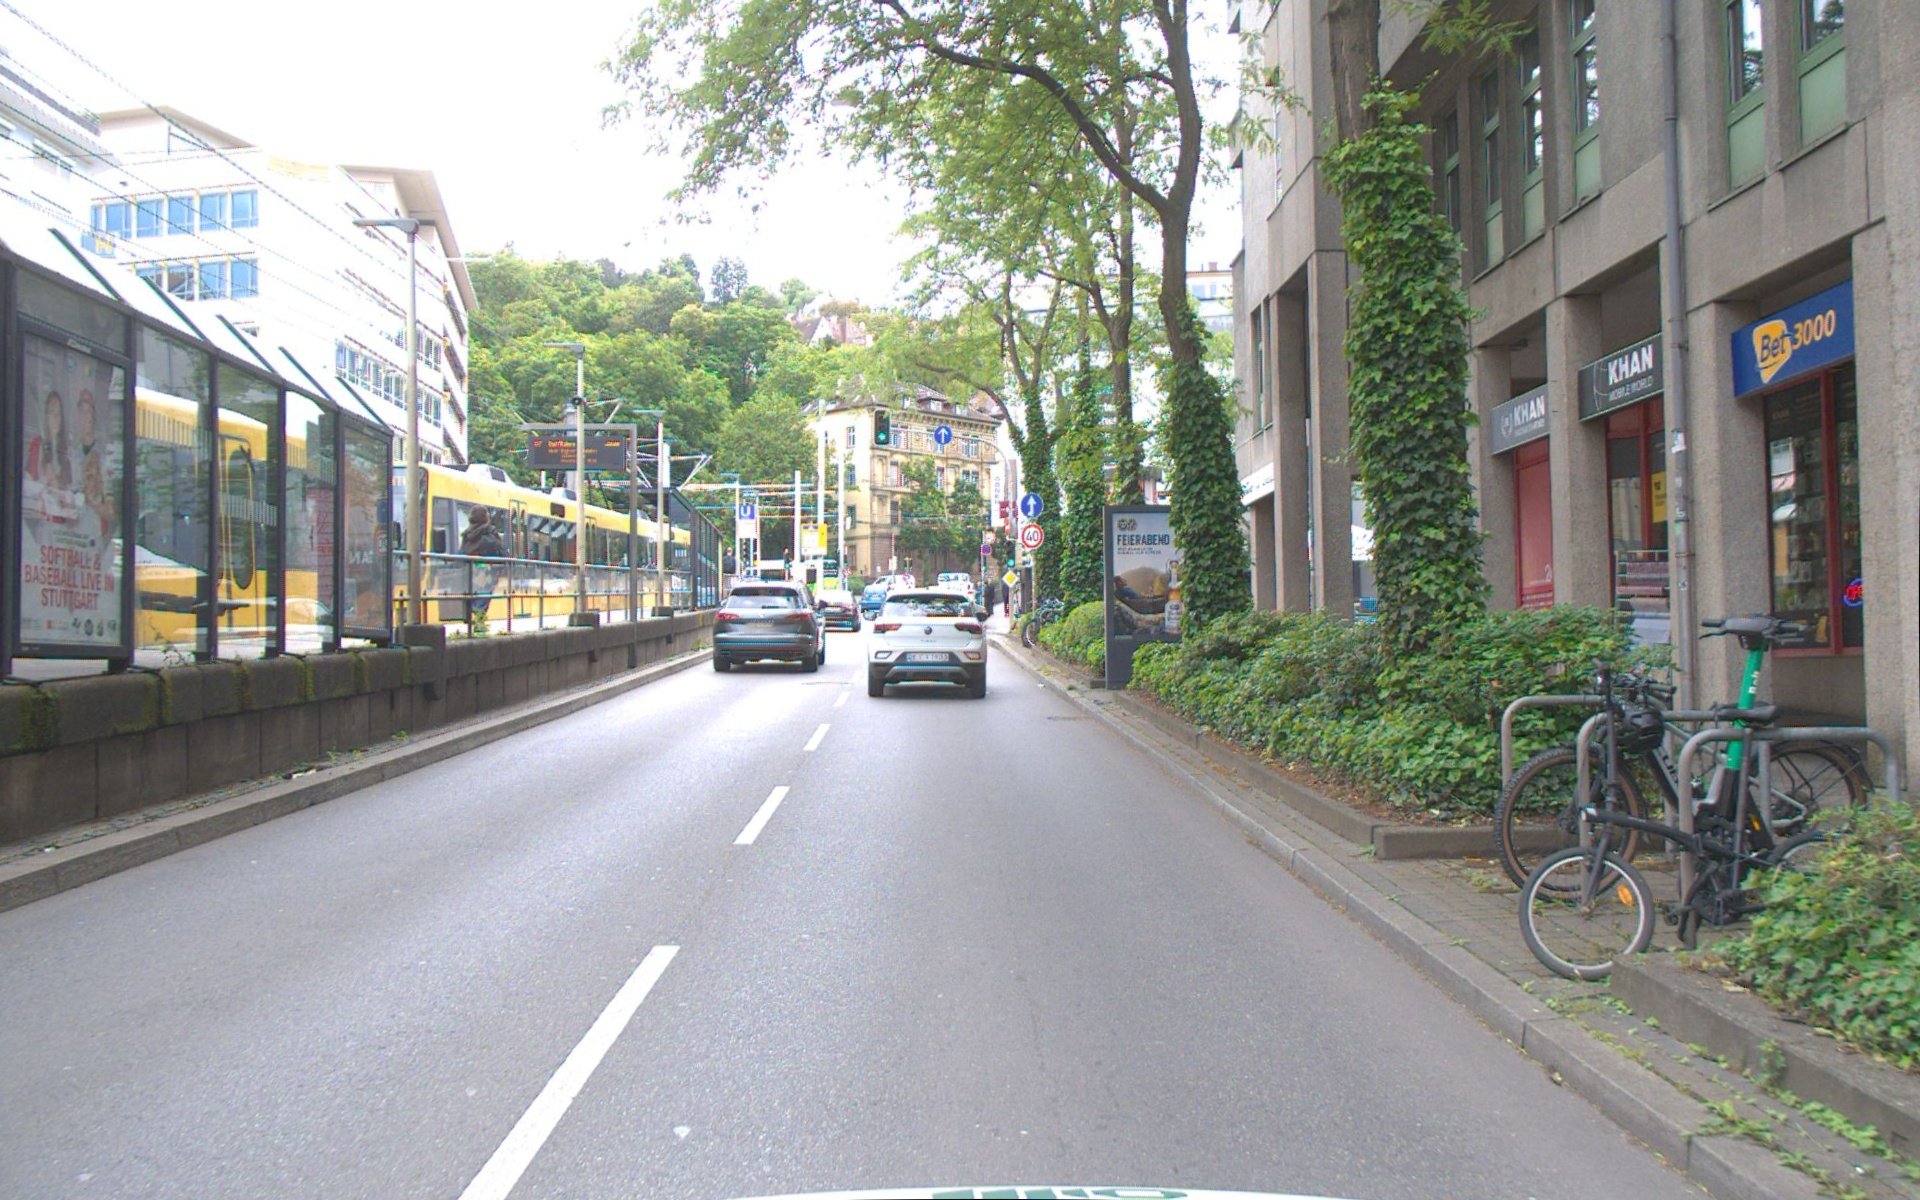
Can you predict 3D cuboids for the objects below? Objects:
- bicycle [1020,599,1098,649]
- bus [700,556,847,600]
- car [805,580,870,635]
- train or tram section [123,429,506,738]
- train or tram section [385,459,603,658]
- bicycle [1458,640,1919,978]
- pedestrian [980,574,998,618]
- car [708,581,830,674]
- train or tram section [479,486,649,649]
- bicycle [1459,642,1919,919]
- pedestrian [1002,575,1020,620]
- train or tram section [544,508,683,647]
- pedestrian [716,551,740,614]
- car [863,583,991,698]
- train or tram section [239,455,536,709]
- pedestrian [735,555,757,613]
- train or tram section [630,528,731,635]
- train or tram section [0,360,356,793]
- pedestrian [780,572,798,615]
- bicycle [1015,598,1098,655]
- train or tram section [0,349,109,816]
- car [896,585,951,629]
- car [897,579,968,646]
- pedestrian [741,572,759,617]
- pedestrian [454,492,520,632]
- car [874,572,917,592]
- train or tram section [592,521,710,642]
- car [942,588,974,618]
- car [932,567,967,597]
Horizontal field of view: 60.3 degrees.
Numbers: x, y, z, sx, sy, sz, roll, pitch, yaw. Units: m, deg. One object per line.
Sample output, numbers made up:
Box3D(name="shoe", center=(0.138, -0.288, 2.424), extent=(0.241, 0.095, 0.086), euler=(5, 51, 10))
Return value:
Box3D(name="bicycle", center=(2.391, 0.585, 39.743), extent=(1.841, 1.157, 0.808), euler=(1, -2, 5))
Box3D(name="bus", center=(-14.836, -1.675, 130.607), extent=(13.073, 3.118, 3.366), euler=(0, -2, 39))
Box3D(name="car", center=(-4.279, 0.297, 58.172), extent=(1.872, 1.719, 4.000), euler=(1, -3, 1))
Box3D(name="train or tram section", center=(-8.795, -0.174, 23.542), extent=(2.755, 3.731, 6.750), euler=(1, 0, 0))
Box3D(name="train or tram section", center=(-9.547, -0.754, 34.680), extent=(2.756, 3.731, 6.748), euler=(1, 0, -2))
Box3D(name="bicycle", center=(2.793, 0.764, 6.280), extent=(1.586, 1.147, 0.613), euler=(-3, -1, 3))
Box3D(name="pedestrian", center=(1.382, -0.191, 78.679), extent=(0.746, 2.049, 0.839), euler=(1, -2, 4))
Box3D(name="car", center=(-3.594, 0.484, 31.790), extent=(1.953, 1.664, 3.999), euler=(0, 0, -1))
Box3D(name="train or tram section", center=(-9.736, -0.722, 41.432), extent=(2.756, 3.731, 6.748), euler=(1, 0, -2))
Box3D(name="bicycle", center=(3.313, 0.788, 7.507), extent=(1.878, 1.095, 0.613), euler=(-2, -1, -4))
Box3D(name="pedestrian", center=(2.356, -0.110, 76.394), extent=(0.746, 2.049, 0.839), euler=(1, -2, 4))
Box3D(name="train or tram section", center=(-9.945, -0.592, 48.161), extent=(2.756, 3.731, 6.748), euler=(1, 0, -2))
Box3D(name="pedestrian", center=(-7.705, -0.576, 54.844), extent=(0.747, 2.049, 0.837), euler=(1, -2, -8))
Box3D(name="car", center=(-0.429, 0.579, 25.513), extent=(1.799, 1.611, 4.157), euler=(0, 0, 1))
Box3D(name="train or tram section", center=(-9.345, -0.242, 27.896), extent=(2.756, 3.731, 6.748), euler=(1, 0, -2))
Box3D(name="pedestrian", center=(-7.638, -0.559, 58.942), extent=(0.747, 2.049, 0.837), euler=(1, -2, -8))
Box3D(name="train or tram section", center=(-10.342, -0.631, 61.818), extent=(2.756, 3.731, 6.748), euler=(1, 0, -2))
Box3D(name="train or tram section", center=(-8.766, -0.198, 17.211), extent=(2.755, 3.731, 5.902), euler=(1, -1, 0))
Box3D(name="pedestrian", center=(-8.213, -0.299, 79.331), extent=(0.746, 2.049, 0.838), euler=(1, -2, 0))
Box3D(name="bicycle", center=(2.240, 0.605, 38.248), extent=(1.840, 1.288, 0.765), euler=(0, -2, 10))
Box3D(name="train or tram section", center=(-8.752, -0.159, 11.371), extent=(2.777, 3.583, 5.751), euler=(1, 0, 0))
Box3D(name="car", center=(-1.529, 0.310, 68.040), extent=(1.849, 1.713, 4.154), euler=(1, -1, -7))
Box3D(name="car", center=(-0.767, 0.379, 45.506), extent=(1.846, 1.713, 4.160), euler=(1, -1, -1))
Box3D(name="pedestrian", center=(-9.813, -0.246, 77.301), extent=(0.746, 2.049, 0.838), euler=(1, -2, -1))
Box3D(name="pedestrian", center=(-6.192, -0.495, 21.686), extent=(0.614, 1.793, 0.846), euler=(-1, 0, -1))
Box3D(name="car", center=(-5.787, -1.566, 147.974), extent=(1.878, 1.719, 3.989), euler=(1, 0, 33))
Box3D(name="train or tram section", center=(-10.143, -0.543, 54.900), extent=(2.756, 3.731, 6.748), euler=(1, 0, -2))
Box3D(name="car", center=(-0.117, 0.211, 103.227), extent=(1.846, 1.713, 4.161), euler=(1, -1, 2))
Box3D(name="car", center=(-0.732, -1.302, 121.898), extent=(2.315, 2.049, 5.149), euler=(1, -1, 3))
